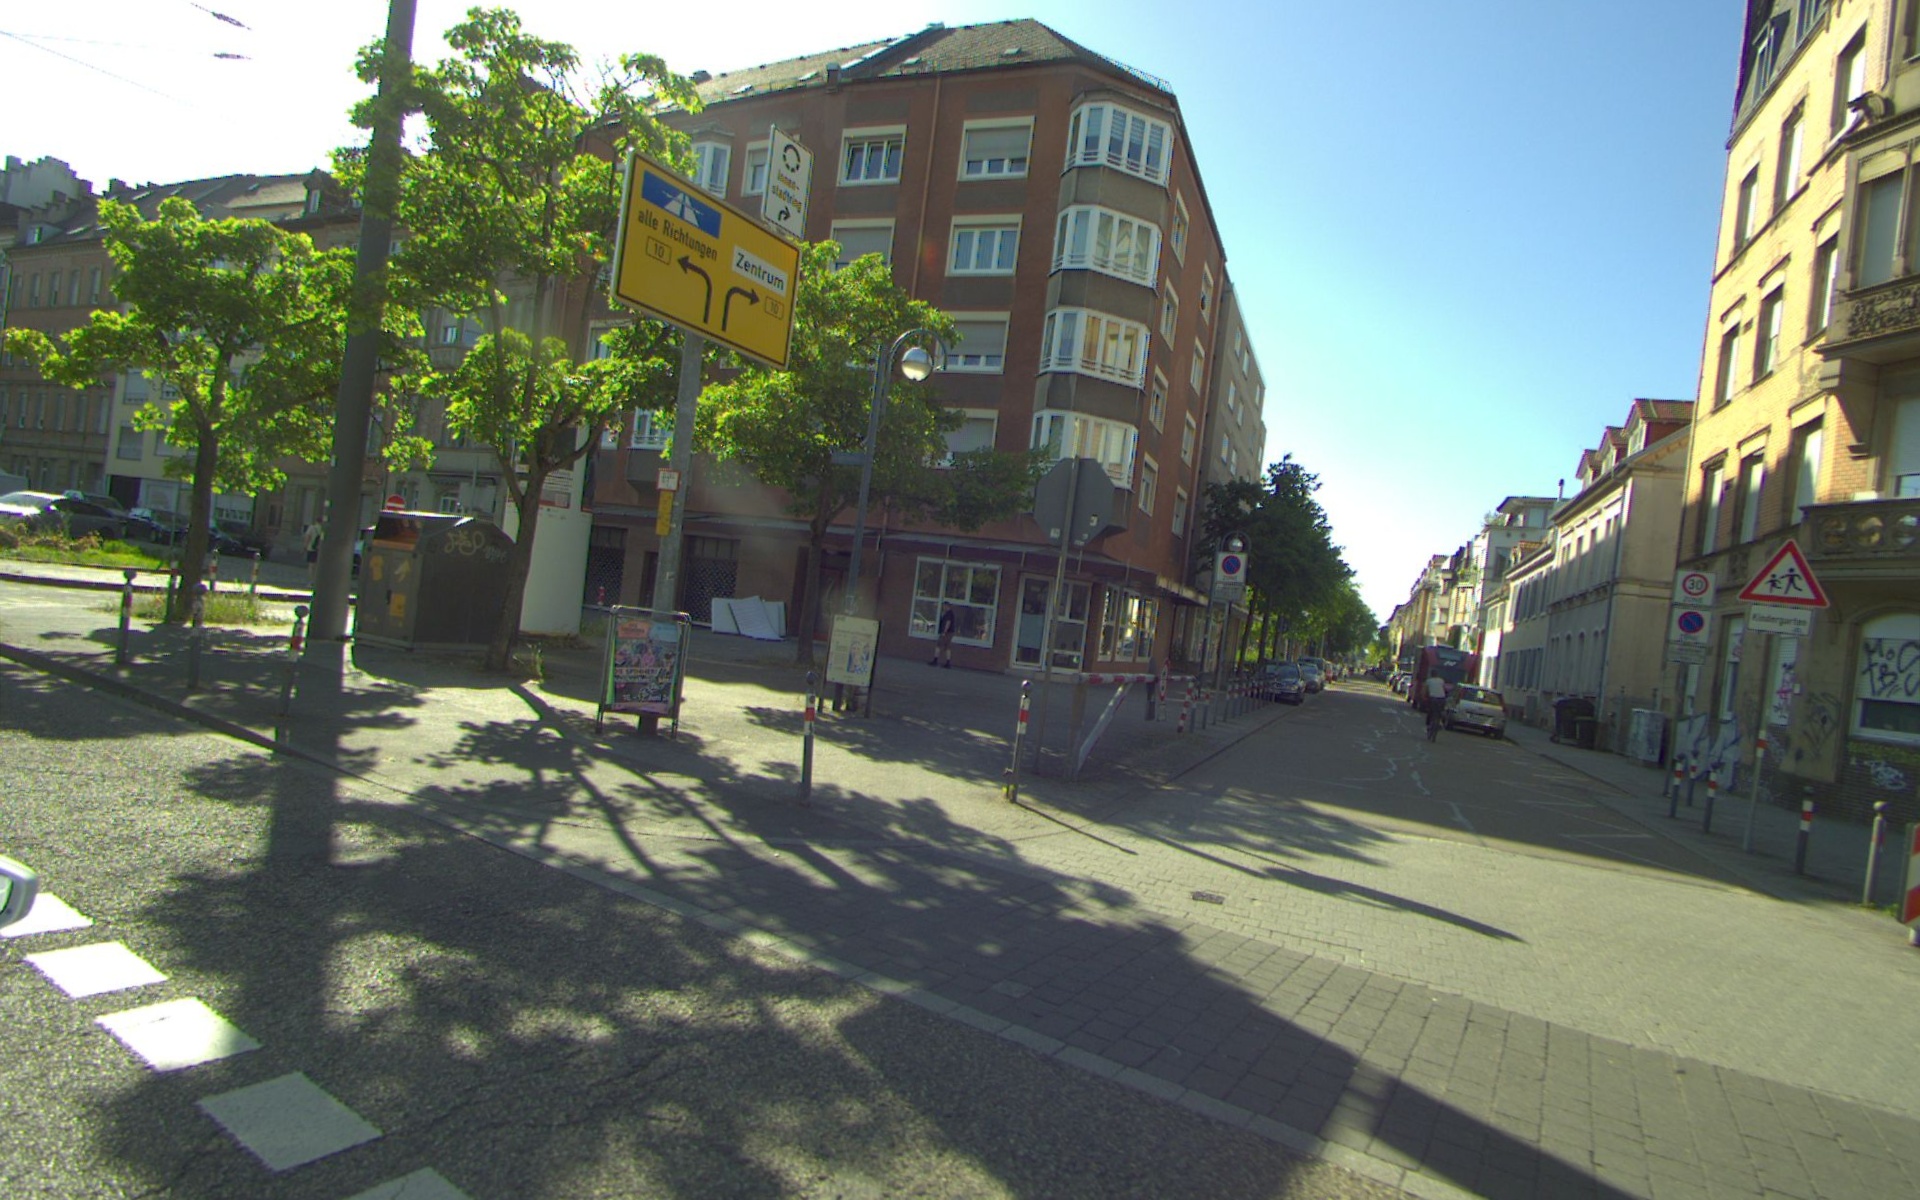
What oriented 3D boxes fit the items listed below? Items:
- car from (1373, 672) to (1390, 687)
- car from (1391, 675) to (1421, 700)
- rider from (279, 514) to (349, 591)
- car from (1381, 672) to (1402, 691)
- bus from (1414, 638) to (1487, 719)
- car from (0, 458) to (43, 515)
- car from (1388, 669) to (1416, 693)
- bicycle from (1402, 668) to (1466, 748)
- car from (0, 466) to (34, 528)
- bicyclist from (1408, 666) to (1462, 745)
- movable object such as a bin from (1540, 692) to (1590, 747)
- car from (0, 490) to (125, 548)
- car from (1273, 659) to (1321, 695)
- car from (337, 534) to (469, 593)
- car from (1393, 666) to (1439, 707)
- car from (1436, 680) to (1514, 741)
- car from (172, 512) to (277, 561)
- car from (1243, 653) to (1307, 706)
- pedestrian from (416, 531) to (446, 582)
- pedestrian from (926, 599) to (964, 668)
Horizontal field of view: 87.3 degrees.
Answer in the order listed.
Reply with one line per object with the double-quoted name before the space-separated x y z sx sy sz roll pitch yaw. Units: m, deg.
"car" 52.706 9.943 125.943 1.605 1.563 4.000 7 -1 21
"car" 32.866 6.429 74.240 1.605 1.563 4.000 7 -1 21
"rider" -17.043 -1.229 26.560 1.021 1.843 0.963 7 1 10
"car" 42.773 8.097 99.794 1.605 1.563 4.000 7 -1 21
"bus" 21.901 3.487 45.174 2.379 3.104 6.264 7 0 24
"car" -49.217 -5.954 51.494 4.435 2.619 1.996 8 2 29
"car" 35.036 6.396 79.745 1.605 1.563 4.000 7 -1 21
"bicycle" 11.491 2.585 24.473 0.991 1.701 2.141 7 0 19
"car" -33.919 -3.653 33.443 1.985 2.102 4.872 7 1 -6
"bicyclist" 11.497 2.543 24.381 0.903 1.746 1.050 7 0 20
"movable object such as a bin" 18.609 3.657 30.958 1.016 1.462 1.217 7 0 24
"car" -27.661 -2.434 29.758 1.985 1.453 4.873 7 1 -5
"car" 17.547 3.973 52.325 1.963 1.571 3.999 7 0 22
"car" -19.343 -1.269 34.913 4.414 1.492 1.996 7 0 31
"car" 26.460 4.961 58.424 1.963 2.038 4.000 7 -1 21
"car" 16.610 3.505 32.621 1.605 1.563 4.000 7 -1 21
"car" -29.996 -2.587 41.012 4.218 1.438 1.731 8 1 28
"car" 11.673 2.877 37.114 1.817 1.593 3.999 7 0 22
"pedestrian" -19.372 -1.587 36.852 0.605 1.780 0.570 7 1 31
"pedestrian" -0.408 0.903 27.228 0.631 1.782 0.592 7 0 29
